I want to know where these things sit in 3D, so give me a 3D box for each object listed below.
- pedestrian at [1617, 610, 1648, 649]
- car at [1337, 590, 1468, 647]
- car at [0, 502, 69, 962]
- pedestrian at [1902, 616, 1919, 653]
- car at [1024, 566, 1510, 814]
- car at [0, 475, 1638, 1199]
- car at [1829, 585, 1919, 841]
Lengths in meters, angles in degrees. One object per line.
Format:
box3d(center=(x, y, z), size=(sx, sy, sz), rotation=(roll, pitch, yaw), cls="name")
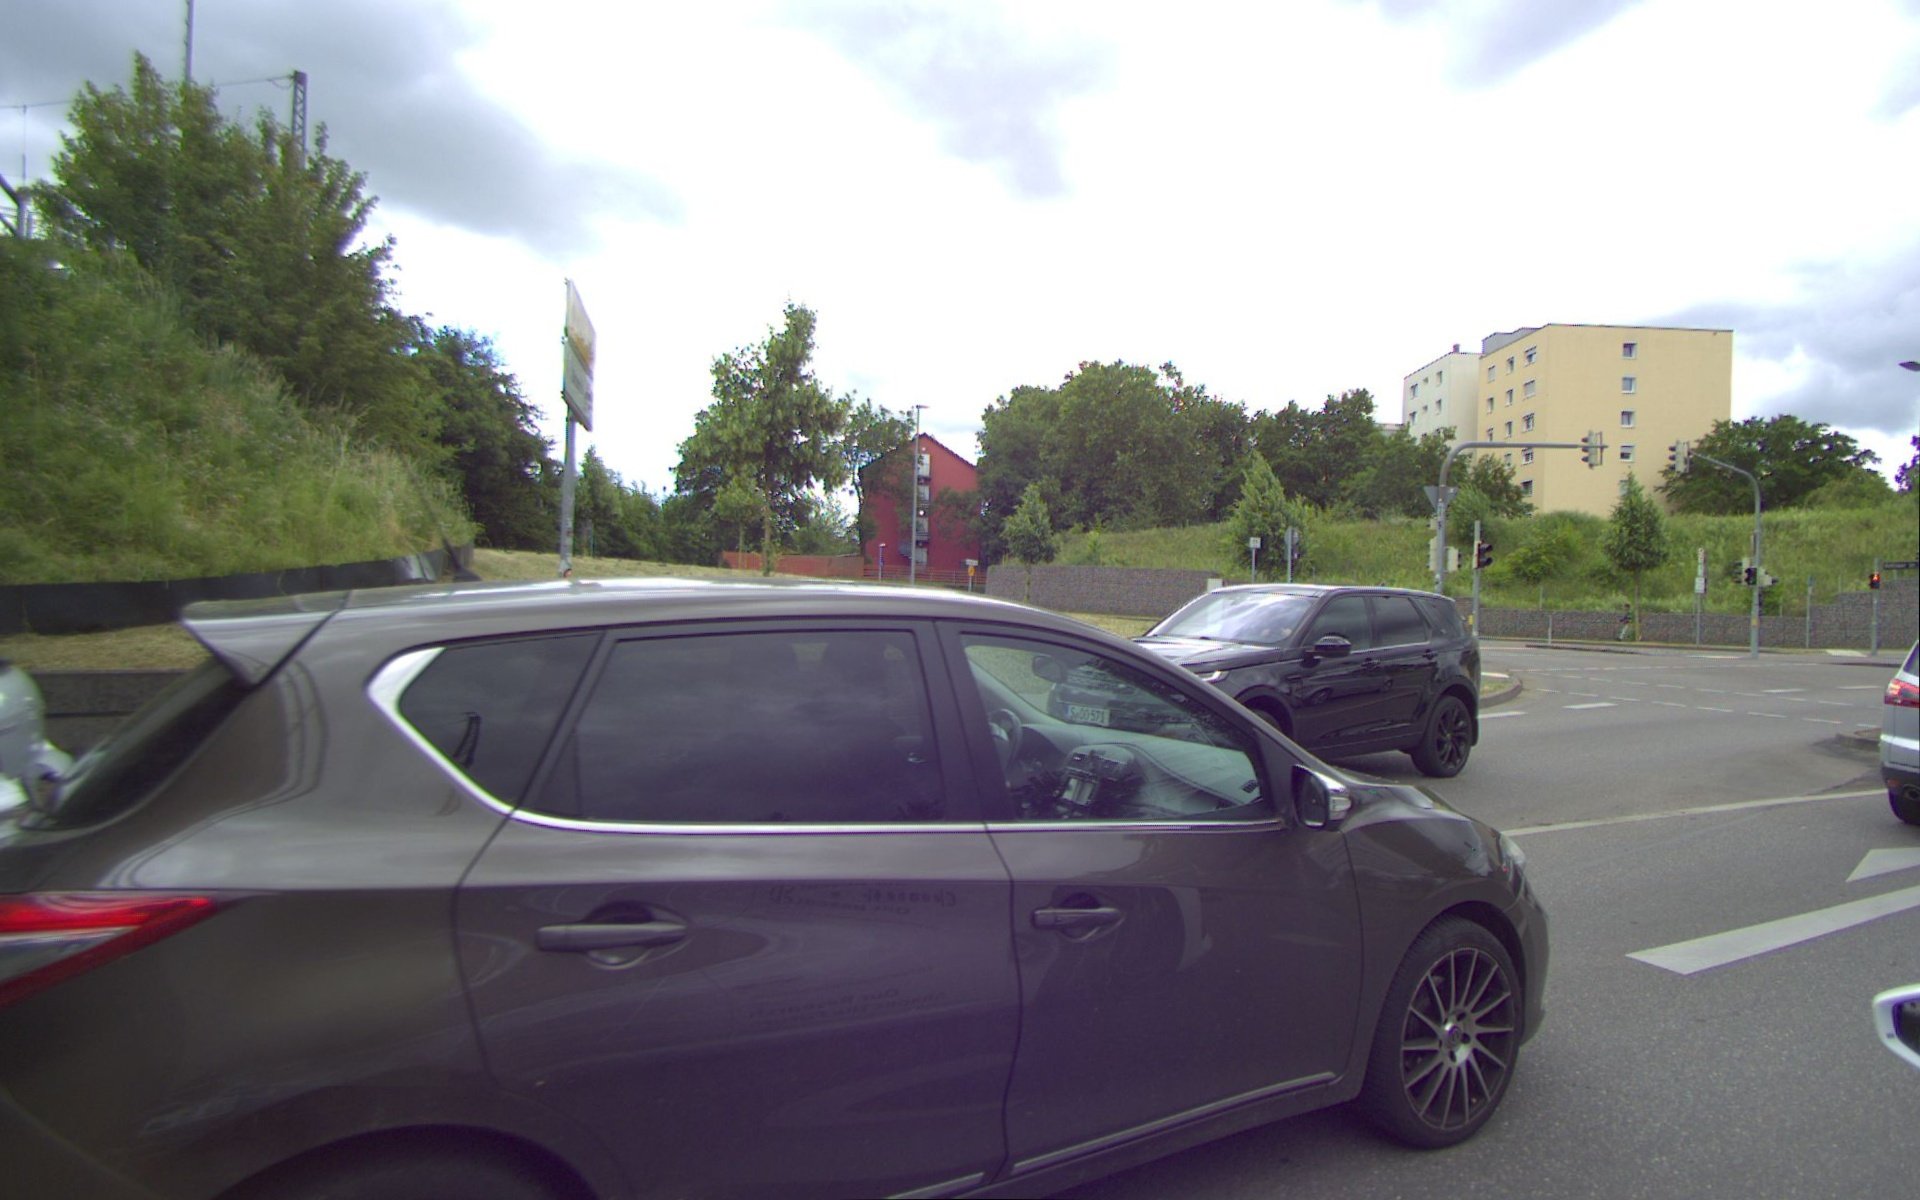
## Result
box3d(center=(28.619, 1.252, 42.743), size=(0.943, 1.634, 0.695), rotation=(2, 1, 45), cls="pedestrian")
box3d(center=(16.223, 0.643, 36.974), size=(1.982, 1.973, 3.956), rotation=(2, -1, -38), cls="car")
box3d(center=(-5.357, 0.415, 2.913), size=(3.963, 1.613, 1.750), rotation=(2, -1, -37), cls="car")
box3d(center=(33.224, 1.193, 34.698), size=(0.724, 1.240, 0.901), rotation=(0, 4, -44), cls="pedestrian")
box3d(center=(2.818, 0.675, 8.964), size=(4.124, 1.720, 1.981), rotation=(2, -1, -34), cls="car")
box3d(center=(-0.014, 0.672, 2.936), size=(3.955, 1.513, 1.835), rotation=(2, -1, -32), cls="car")
box3d(center=(8.422, 0.835, 7.230), size=(3.816, 1.729, 1.825), rotation=(2, 1, -25), cls="car")
